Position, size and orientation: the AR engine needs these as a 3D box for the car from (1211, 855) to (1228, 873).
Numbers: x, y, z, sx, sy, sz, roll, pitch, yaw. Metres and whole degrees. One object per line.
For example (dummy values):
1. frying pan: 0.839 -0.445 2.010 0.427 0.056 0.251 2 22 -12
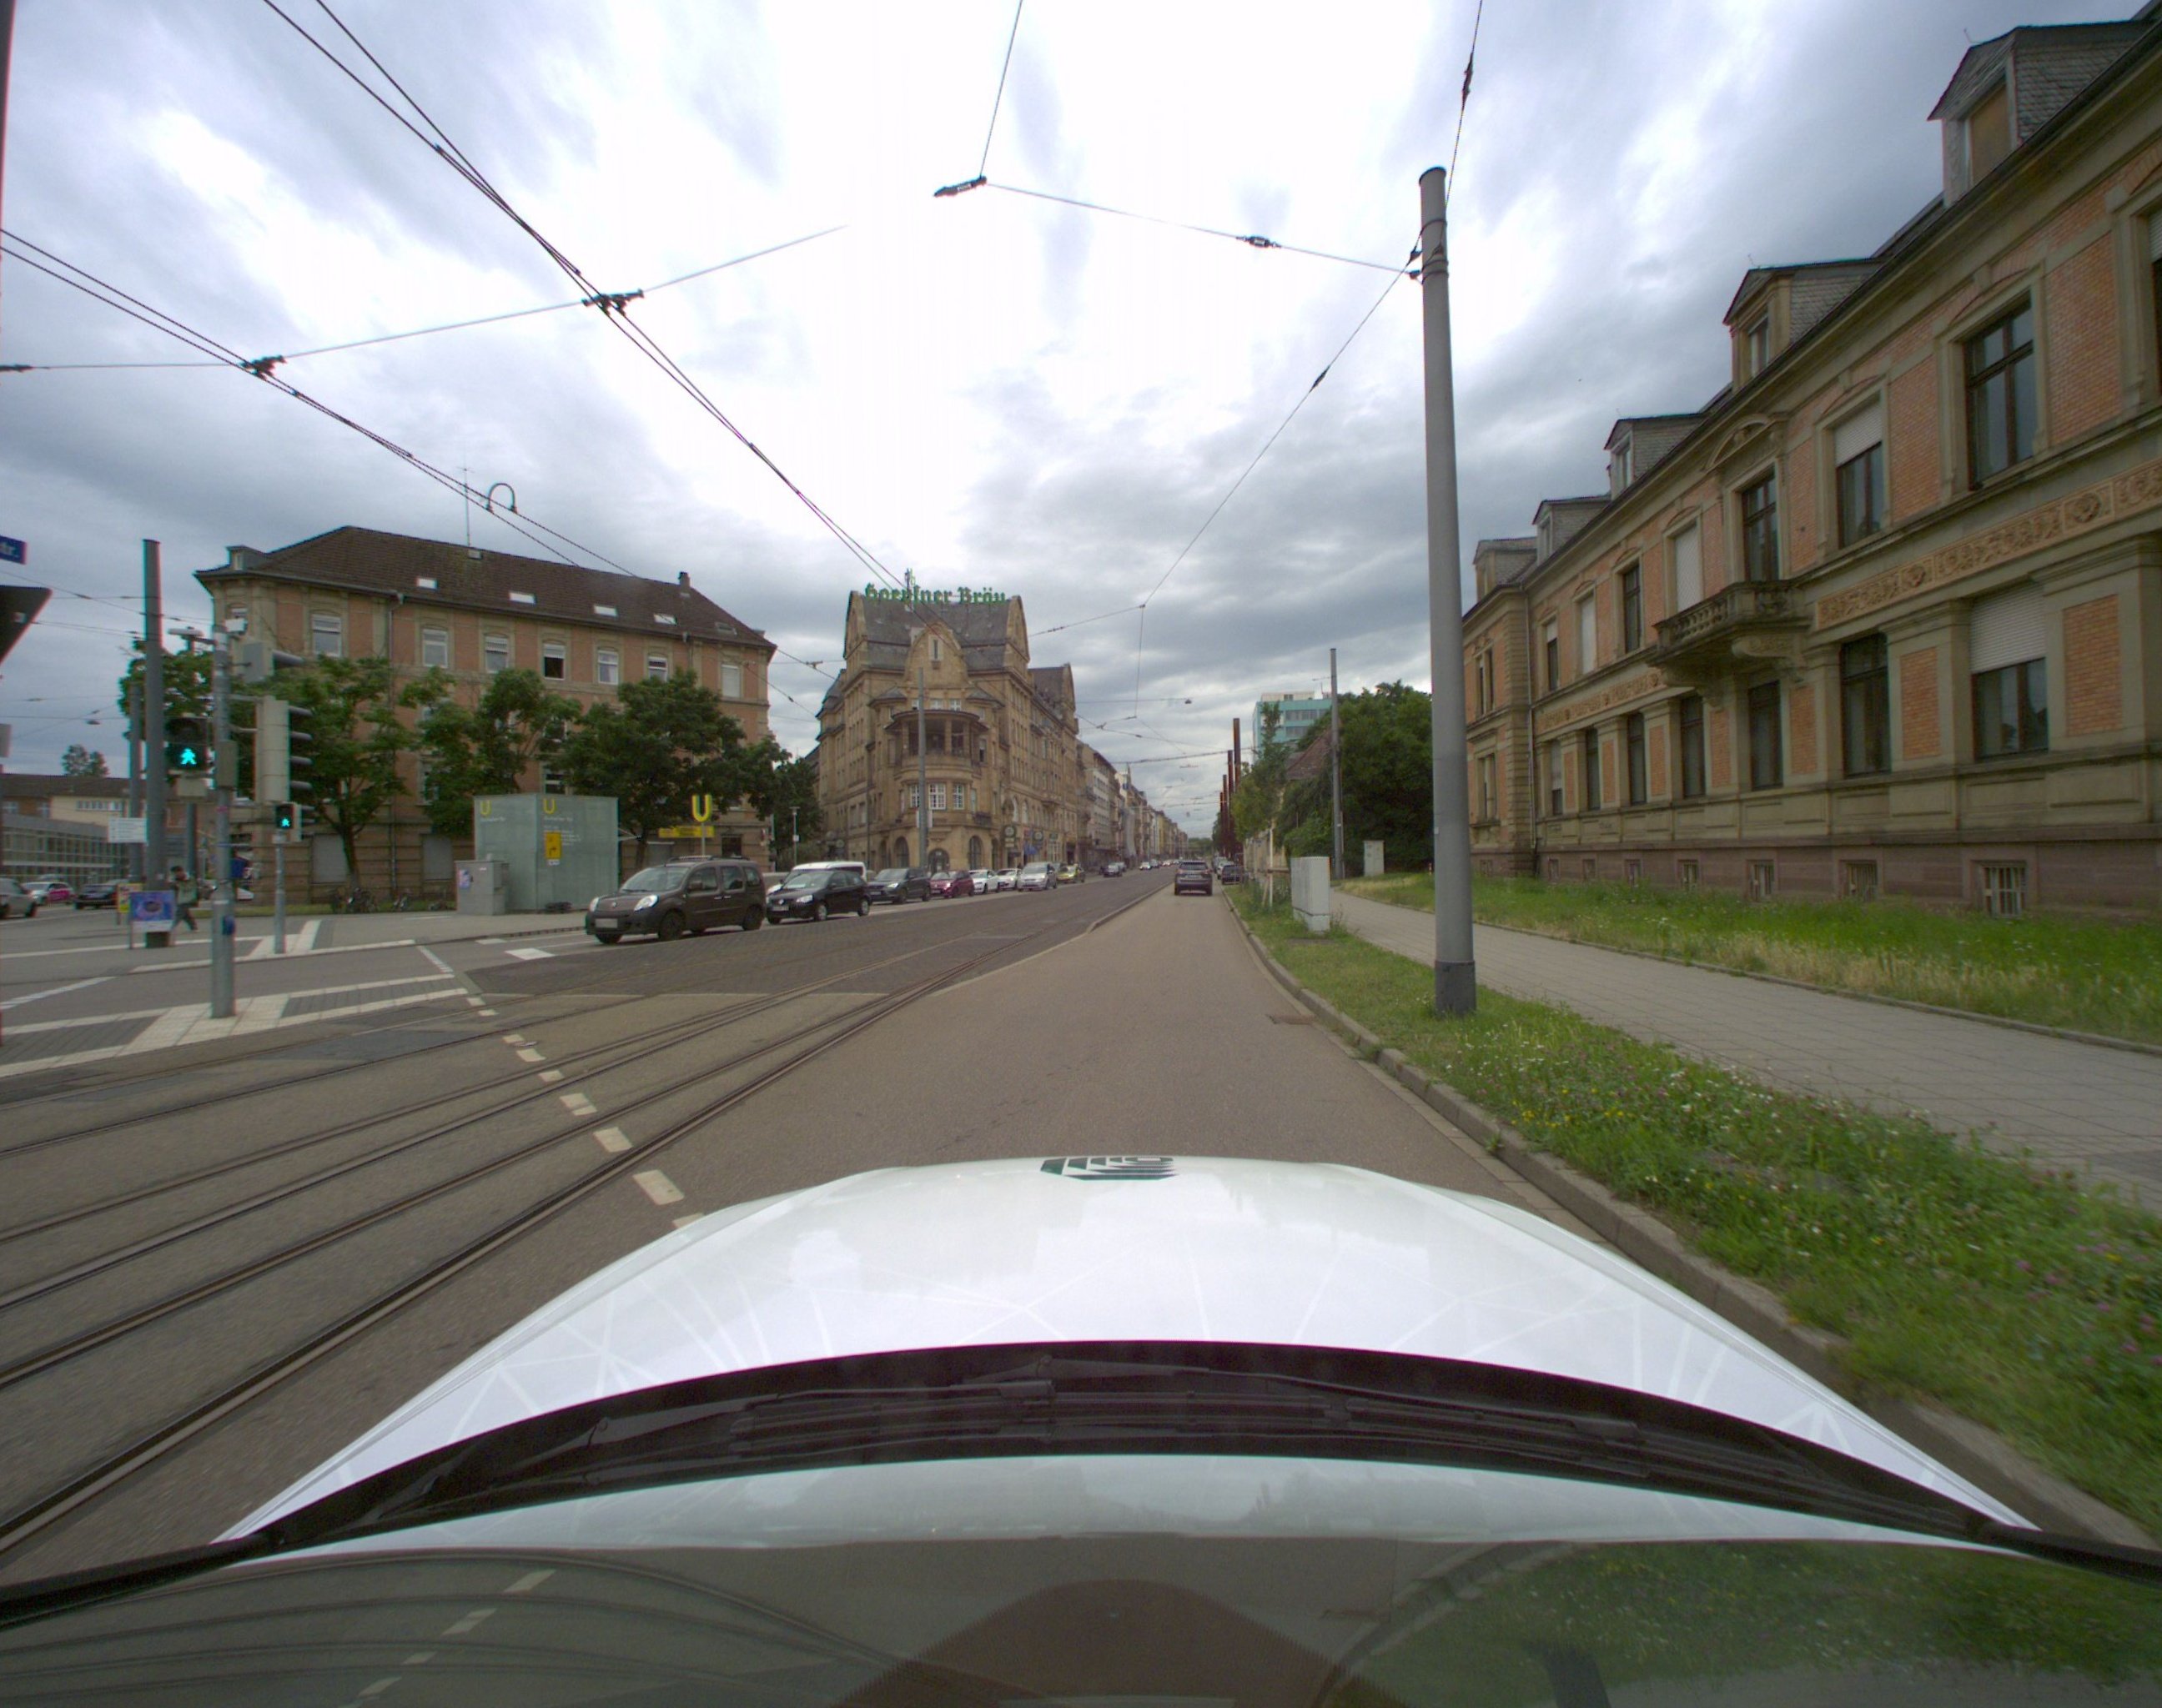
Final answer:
1. car: 17.785 1.324 104.819 1.841 2.115 4.996 -4 -1 8

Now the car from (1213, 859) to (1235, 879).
1. car: 12.867 1.333 73.246 1.745 1.574 3.939 -4 -1 8

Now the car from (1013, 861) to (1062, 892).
1. car: -2.565 1.321 49.463 1.851 1.706 4.922 -3 -1 10

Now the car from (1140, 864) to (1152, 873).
1. car: 11.465 2.526 142.968 1.749 1.449 4.625 -1 -1 9

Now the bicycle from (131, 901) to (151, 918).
1. bicycle: -47.522 2.781 41.170 1.571 0.793 0.625 -2 -1 41

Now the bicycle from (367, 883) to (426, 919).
1. bicycle: -27.742 1.866 33.087 0.962 1.354 3.096 0 -2 -23

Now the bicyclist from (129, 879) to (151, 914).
1. bicyclist: -47.557 2.126 41.159 0.788 1.708 0.694 -2 -1 41

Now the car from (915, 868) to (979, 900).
1. car: -6.766 1.507 41.559 1.850 1.399 3.908 -4 -1 12

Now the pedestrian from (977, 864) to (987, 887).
1. pedestrian: -7.341 1.594 60.381 0.629 1.719 0.532 -1 -1 -6

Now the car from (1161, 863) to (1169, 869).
1. car: 21.667 3.016 209.702 1.677 1.420 4.144 -1 -1 8

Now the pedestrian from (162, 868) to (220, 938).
1. pedestrian: -23.074 1.253 21.118 0.595 1.728 0.918 -2 -1 34

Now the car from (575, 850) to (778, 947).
1. car: -8.897 0.918 18.389 1.677 1.900 4.401 -2 -1 12

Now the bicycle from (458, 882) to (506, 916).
1. bicycle: -25.552 1.878 34.810 0.962 1.354 3.096 0 -2 -23

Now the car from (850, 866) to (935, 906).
1. car: -8.227 1.377 35.967 1.850 1.534 4.318 -3 -1 13

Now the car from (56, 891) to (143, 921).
1. car: -54.223 2.834 45.078 2.008 1.420 3.957 -1 -1 -34

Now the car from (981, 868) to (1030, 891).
1. car: -4.742 1.597 52.053 1.914 1.380 4.271 -1 -1 12

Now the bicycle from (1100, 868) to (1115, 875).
1. bicycle: 3.600 2.412 111.678 1.959 1.001 0.463 -1 -1 1

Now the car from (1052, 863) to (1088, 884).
1. car: -0.848 1.570 66.226 1.886 1.511 4.443 -3 -1 12

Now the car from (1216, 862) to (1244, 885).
1. car: 10.248 1.290 56.185 1.628 1.434 3.939 -4 -1 8

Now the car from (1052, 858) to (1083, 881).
1. car: -1.213 1.387 74.501 1.888 1.977 5.109 -4 -1 8

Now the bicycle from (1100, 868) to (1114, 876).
1. bicycle: 3.514 2.416 110.922 1.915 1.001 0.463 -1 -1 1

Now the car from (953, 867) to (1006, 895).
1. car: -5.780 1.542 47.066 1.736 1.380 4.374 -4 -1 10

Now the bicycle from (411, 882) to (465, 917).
1. bicycle: -26.609 1.866 33.764 0.962 1.354 3.096 0 -2 -23

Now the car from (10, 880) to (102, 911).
1. car: -68.454 2.732 54.480 2.003 1.839 4.485 -1 -1 -25

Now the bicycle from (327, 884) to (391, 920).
1. bicycle: -28.755 1.867 32.502 0.962 1.354 3.096 0 -2 -23

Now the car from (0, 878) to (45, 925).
1. car: -46.174 2.003 34.310 1.926 1.940 4.087 -1 -1 -34

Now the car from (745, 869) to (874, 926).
1. car: -7.707 1.194 23.571 1.677 1.442 4.013 -2 -1 12

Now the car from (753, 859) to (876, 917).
1. car: -9.666 1.186 30.049 1.850 1.916 5.119 -2 -1 13

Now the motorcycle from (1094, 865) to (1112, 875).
1. motorcycle: 2.916 2.088 108.610 2.349 1.303 0.875 -1 -1 -28

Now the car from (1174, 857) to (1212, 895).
1. car: 5.572 1.063 40.239 1.739 1.756 3.933 1 0 9

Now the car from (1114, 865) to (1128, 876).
1. car: 6.284 2.542 126.771 1.766 1.504 4.412 -1 -1 8

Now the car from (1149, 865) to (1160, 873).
1. car: 14.705 2.968 162.781 1.749 1.672 4.625 -1 -1 9
